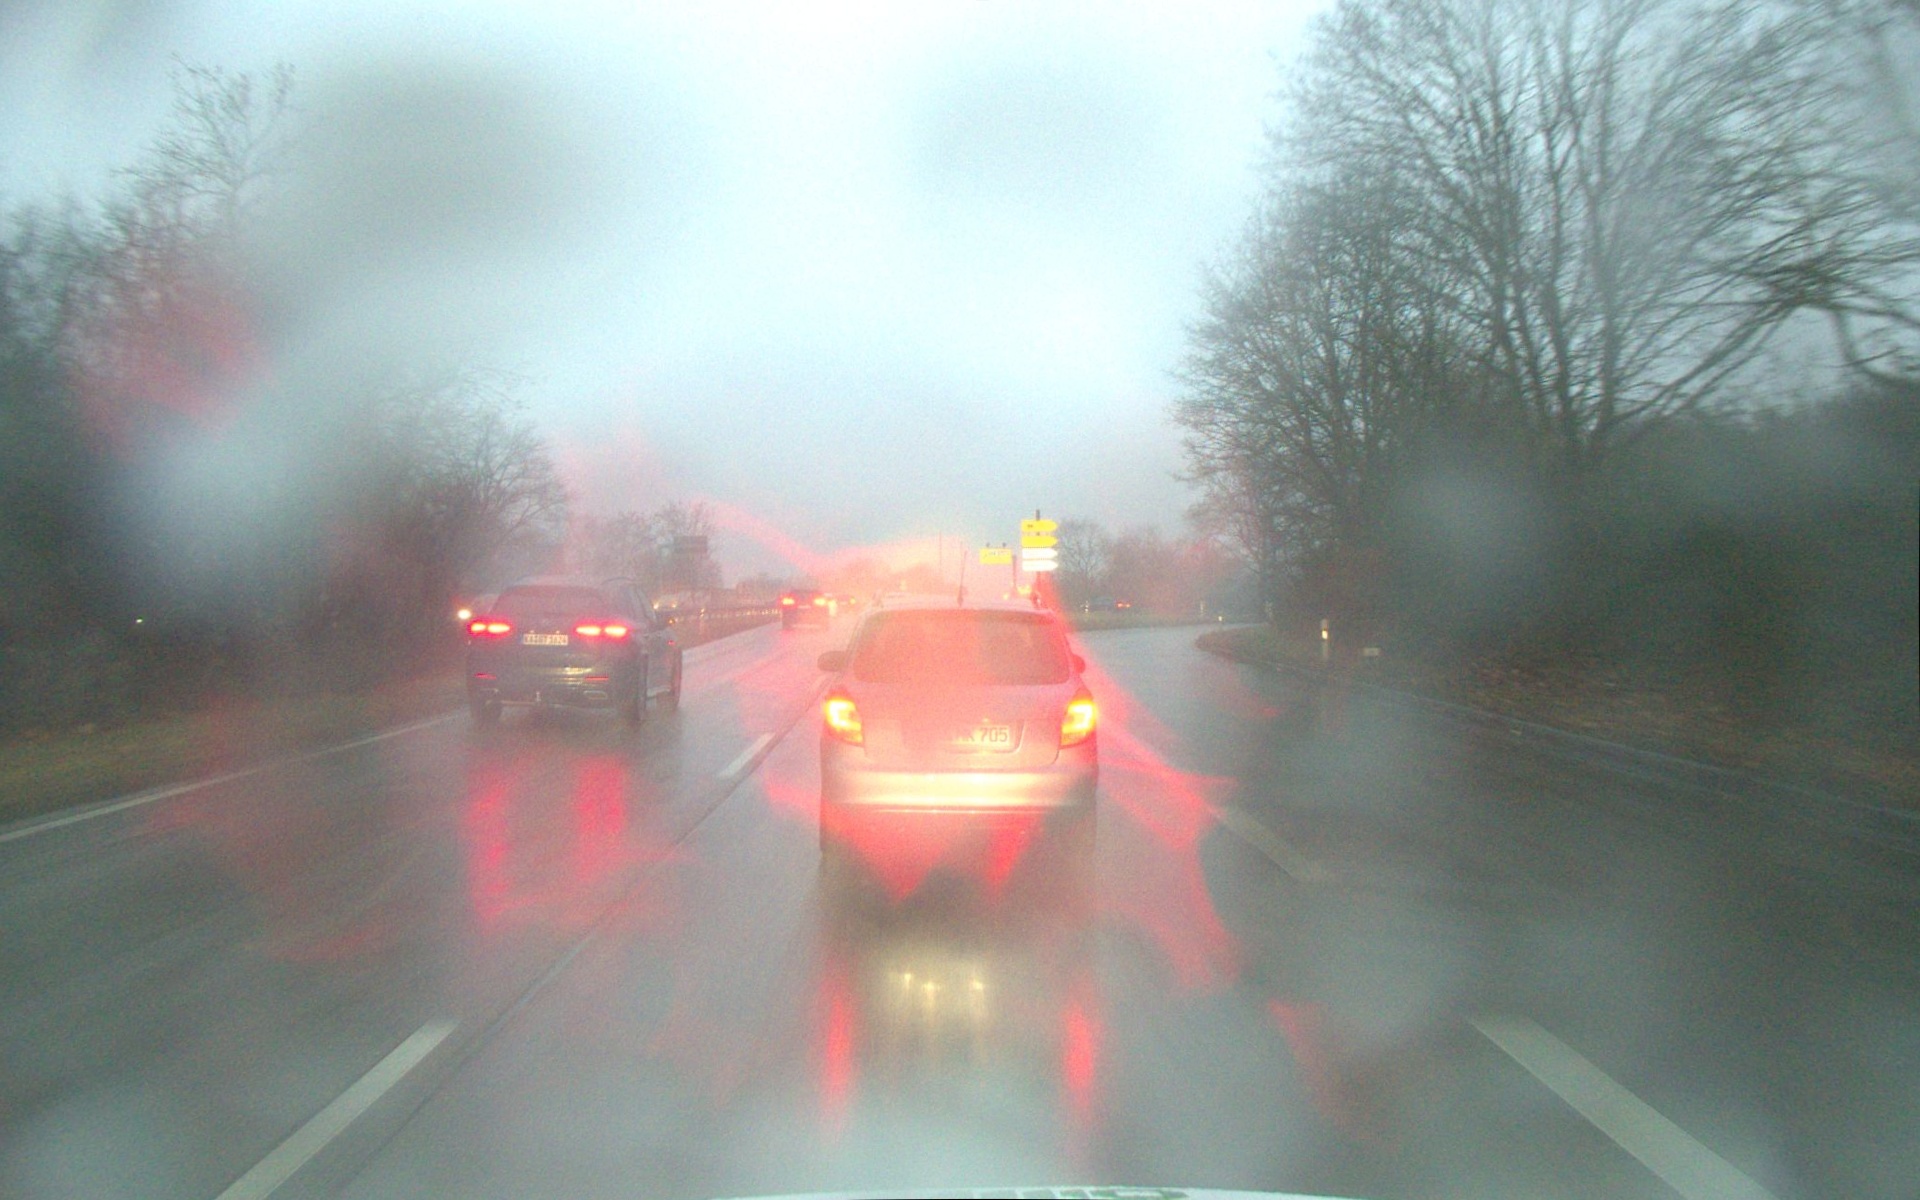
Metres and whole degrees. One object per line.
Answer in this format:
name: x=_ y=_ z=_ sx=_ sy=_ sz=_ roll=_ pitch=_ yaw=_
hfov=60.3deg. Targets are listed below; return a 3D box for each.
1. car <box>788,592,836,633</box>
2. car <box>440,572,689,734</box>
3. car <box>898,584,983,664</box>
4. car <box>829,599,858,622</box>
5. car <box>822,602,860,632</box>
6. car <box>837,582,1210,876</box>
car: x=-6.007 y=0.478 z=66.740 sx=1.756 sy=1.572 sz=3.993 roll=0 pitch=0 yaw=-8
car: x=-4.428 y=0.543 z=19.213 sx=1.953 sy=1.629 sz=4.307 roll=1 pitch=0 yaw=-2
car: x=-0.521 y=0.522 z=39.016 sx=1.859 sy=1.798 sz=4.306 roll=0 pitch=0 yaw=-3
car: x=-7.990 y=0.689 z=113.741 sx=1.753 sy=1.509 sz=3.999 roll=-1 pitch=0 yaw=0
car: x=-6.493 y=0.935 z=90.565 sx=1.753 sy=1.572 sz=3.999 roll=-1 pitch=0 yaw=0
car: x=0.329 y=0.690 z=10.796 sx=1.953 sy=1.527 sz=4.137 roll=-1 pitch=0 yaw=0
